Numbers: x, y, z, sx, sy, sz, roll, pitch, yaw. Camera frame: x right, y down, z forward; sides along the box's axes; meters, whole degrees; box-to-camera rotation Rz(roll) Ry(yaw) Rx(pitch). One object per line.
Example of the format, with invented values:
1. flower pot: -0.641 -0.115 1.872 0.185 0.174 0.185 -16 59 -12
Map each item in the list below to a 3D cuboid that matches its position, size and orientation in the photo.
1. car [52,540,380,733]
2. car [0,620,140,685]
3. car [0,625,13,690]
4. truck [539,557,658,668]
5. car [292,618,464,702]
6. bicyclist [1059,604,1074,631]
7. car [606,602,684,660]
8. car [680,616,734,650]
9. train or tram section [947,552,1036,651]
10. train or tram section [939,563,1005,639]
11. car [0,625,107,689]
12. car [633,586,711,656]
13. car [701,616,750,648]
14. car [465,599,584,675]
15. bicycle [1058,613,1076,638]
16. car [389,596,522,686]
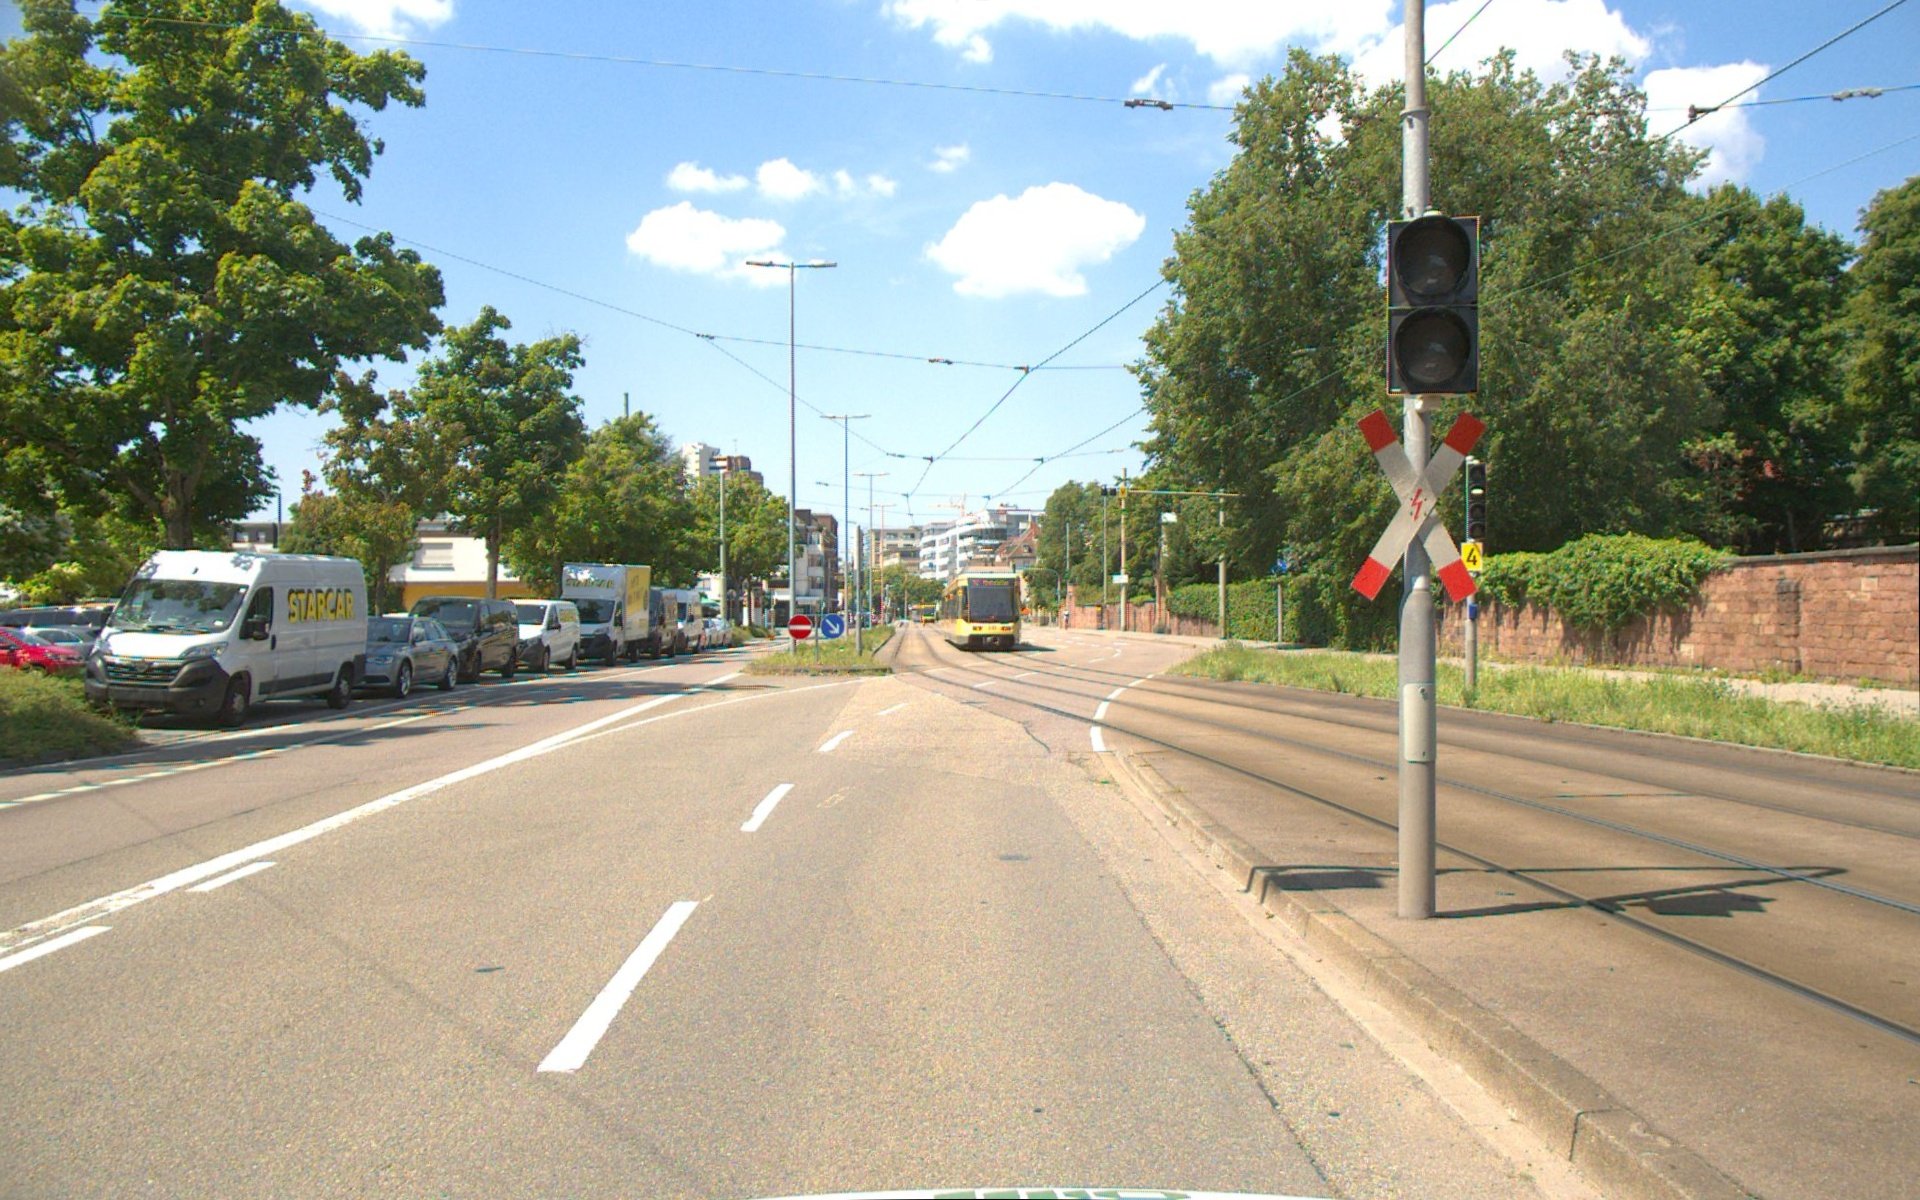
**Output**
1. car: -11.219 0.508 25.615 2.112 2.530 6.193 3 0 1
2. car: -22.063 1.261 39.646 3.907 1.467 1.804 -1 0 -3
3. car: -22.235 1.239 34.495 3.907 1.363 1.804 -1 0 -3
4. truck: -11.615 0.386 53.745 2.112 3.266 7.082 2 0 1
5. car: -11.122 1.107 31.924 1.831 1.462 4.341 -1 0 -1
6. bicyclist: 8.430 1.383 130.792 1.074 2.145 1.031 0 -1 -1
7. car: -11.626 1.120 61.287 2.019 2.011 4.869 -1 0 -1
8. car: -12.562 1.626 82.278 2.019 1.609 4.869 -1 0 -1
9. train or tram section: 1.133 0.078 72.908 2.884 3.756 18.380 0 0 -2
10. train or tram section: 0.485 0.080 92.186 2.884 3.756 20.275 0 0 -2
11. car: -21.576 1.286 37.113 3.907 1.363 1.804 -1 0 -3
12. car: -11.943 0.845 68.993 2.112 2.685 5.611 3 0 1
13. car: -12.712 1.725 89.964 2.019 1.609 4.869 -1 0 -1
14. car: -11.755 0.972 45.006 2.019 1.931 4.869 -1 0 -1
15. bicycle: 8.431 2.017 130.734 1.070 1.941 3.680 -1 0 -2
16. car: -11.595 0.904 38.282 1.831 1.928 4.269 -1 0 -1
